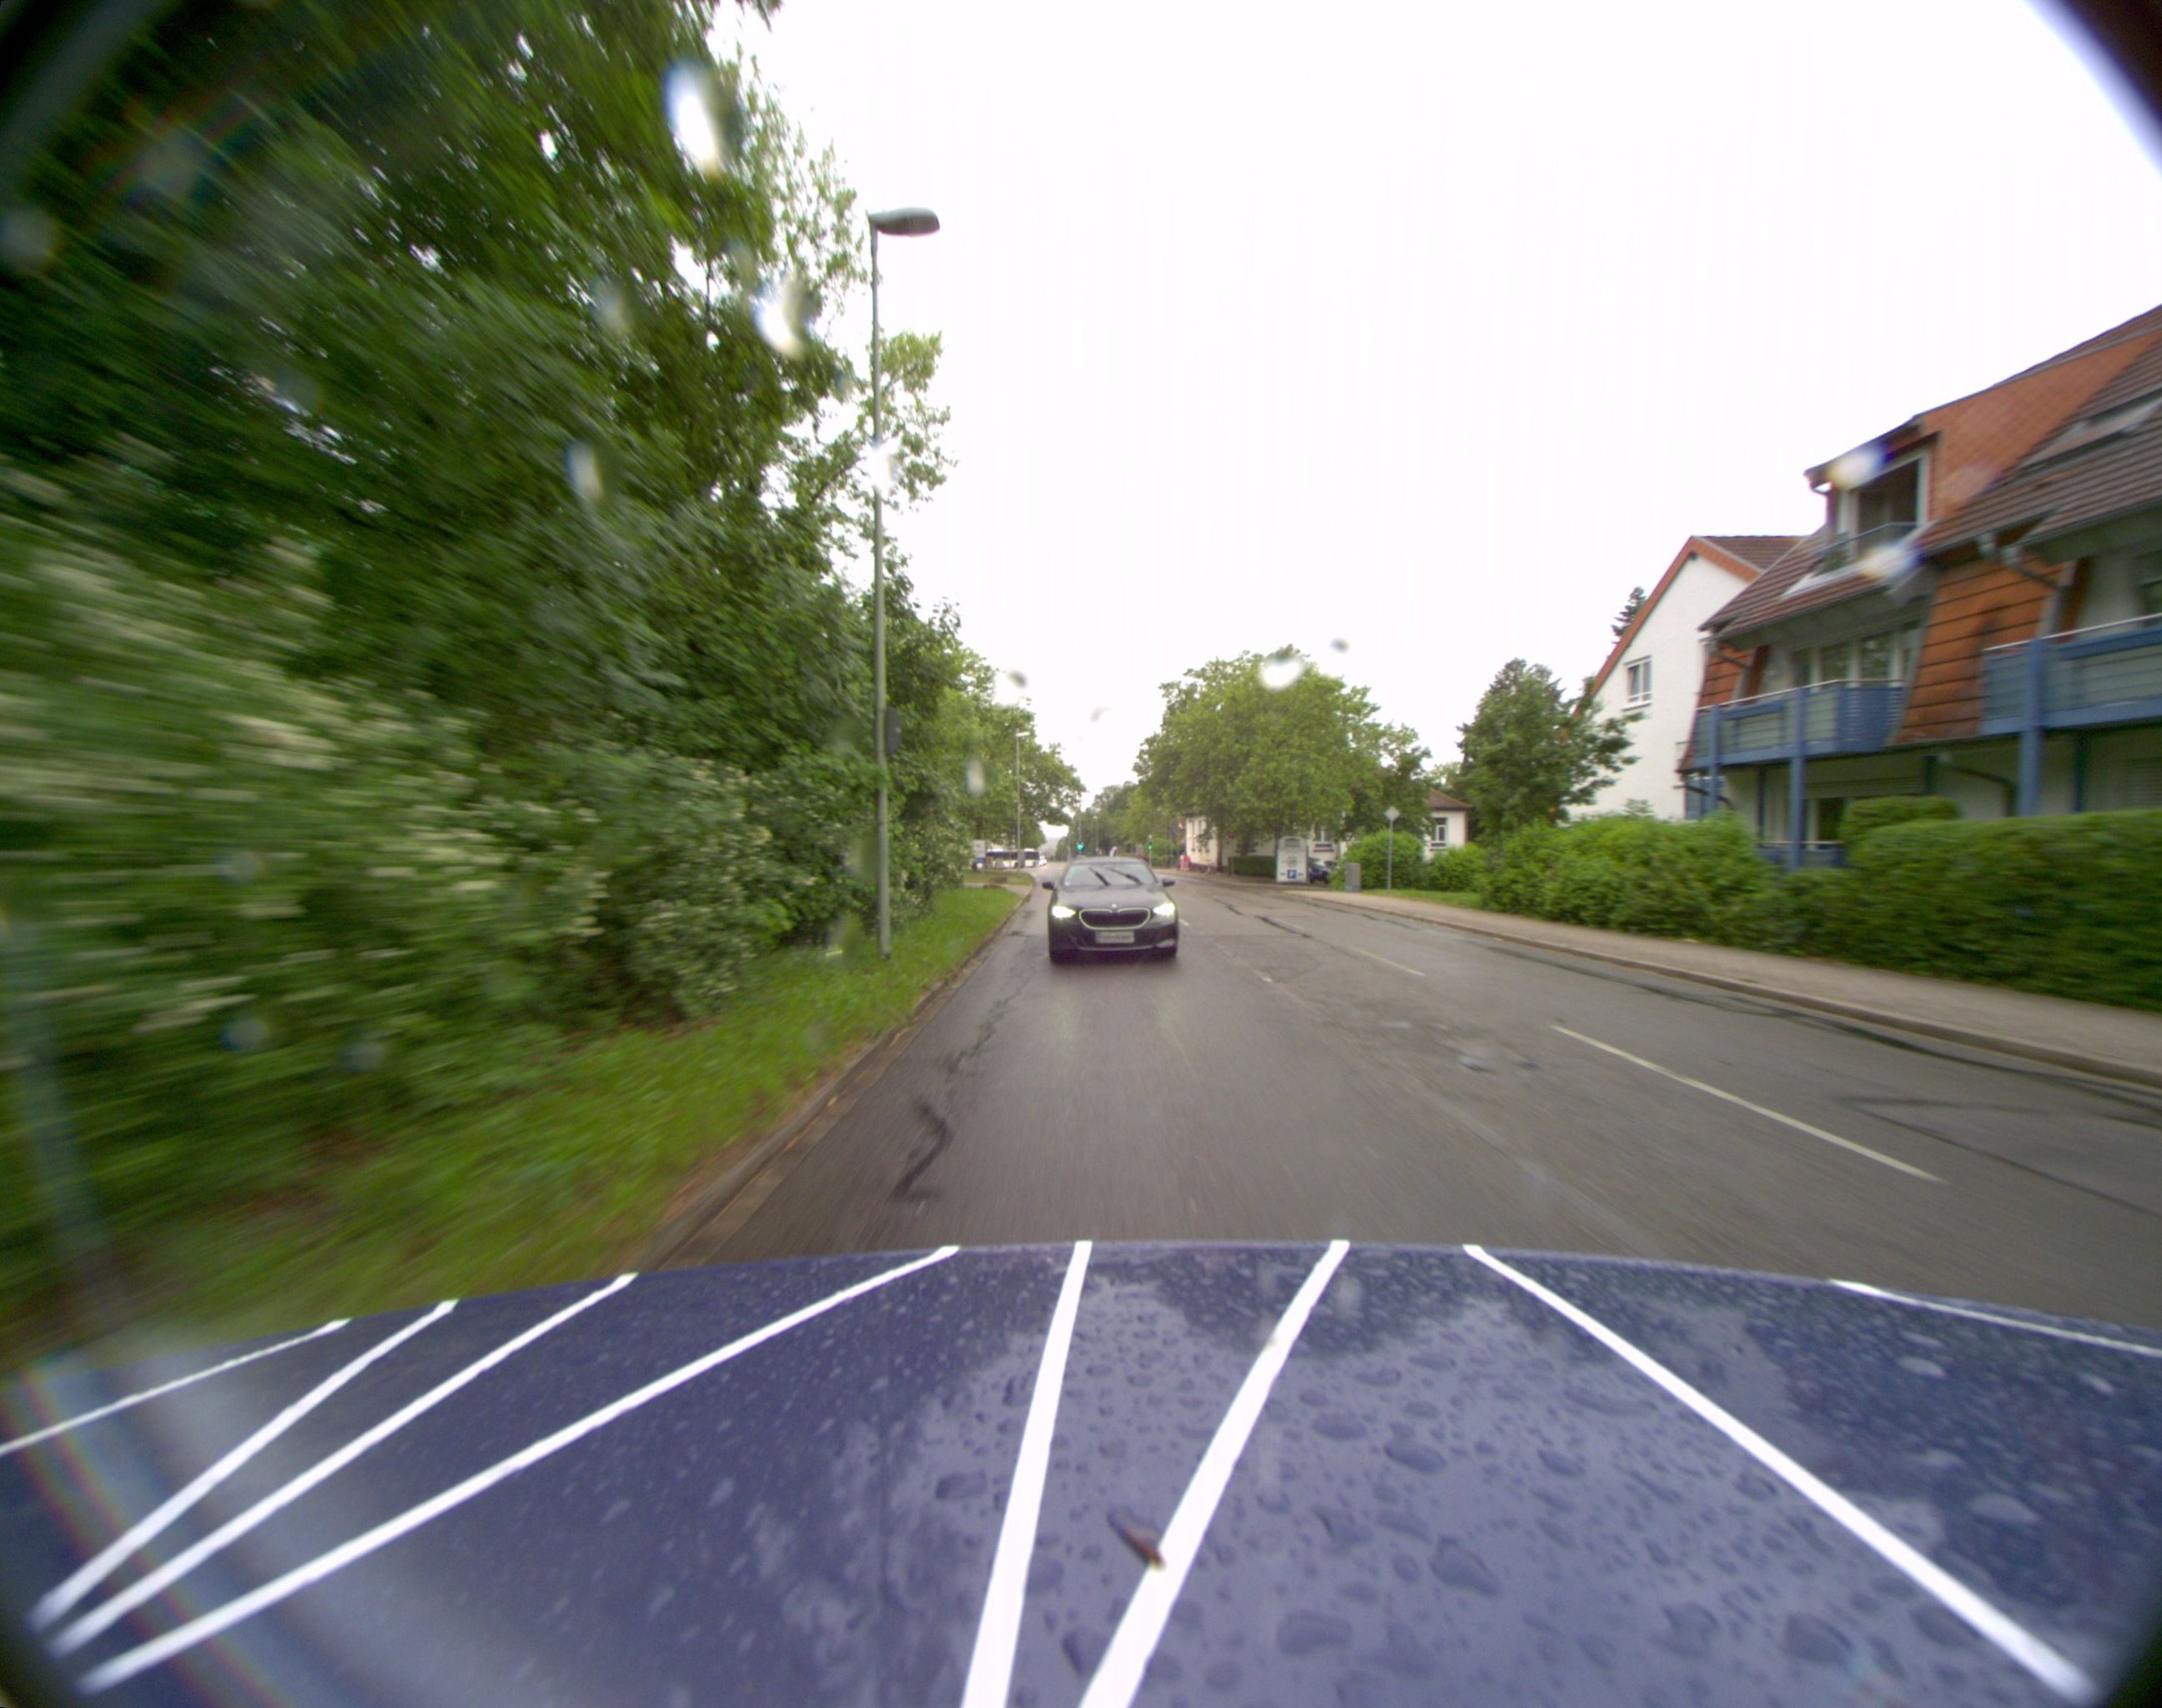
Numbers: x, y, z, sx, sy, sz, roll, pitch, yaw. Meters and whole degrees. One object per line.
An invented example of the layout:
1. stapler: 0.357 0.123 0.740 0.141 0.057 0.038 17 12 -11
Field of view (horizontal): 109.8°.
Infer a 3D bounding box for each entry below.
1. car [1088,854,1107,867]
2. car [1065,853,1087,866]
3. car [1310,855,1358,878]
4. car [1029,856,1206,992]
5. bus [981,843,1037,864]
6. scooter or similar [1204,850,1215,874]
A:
1. car: 1.993 0.830 95.226 1.999 1.420 4.388 5 -2 -2
2. car: -0.707 0.747 102.383 2.001 1.652 4.298 0 0 -14
3. car: 18.085 0.873 54.460 1.756 1.433 4.283 3 1 -3
4. car: 0.318 0.868 11.399 1.999 1.586 4.145 -2 0 -6
5. bus: -10.769 -0.097 115.483 2.892 2.770 10.403 -2 1 29
6. scooter or similar: 9.555 0.575 56.536 0.402 1.765 1.511 -1 1 -6
